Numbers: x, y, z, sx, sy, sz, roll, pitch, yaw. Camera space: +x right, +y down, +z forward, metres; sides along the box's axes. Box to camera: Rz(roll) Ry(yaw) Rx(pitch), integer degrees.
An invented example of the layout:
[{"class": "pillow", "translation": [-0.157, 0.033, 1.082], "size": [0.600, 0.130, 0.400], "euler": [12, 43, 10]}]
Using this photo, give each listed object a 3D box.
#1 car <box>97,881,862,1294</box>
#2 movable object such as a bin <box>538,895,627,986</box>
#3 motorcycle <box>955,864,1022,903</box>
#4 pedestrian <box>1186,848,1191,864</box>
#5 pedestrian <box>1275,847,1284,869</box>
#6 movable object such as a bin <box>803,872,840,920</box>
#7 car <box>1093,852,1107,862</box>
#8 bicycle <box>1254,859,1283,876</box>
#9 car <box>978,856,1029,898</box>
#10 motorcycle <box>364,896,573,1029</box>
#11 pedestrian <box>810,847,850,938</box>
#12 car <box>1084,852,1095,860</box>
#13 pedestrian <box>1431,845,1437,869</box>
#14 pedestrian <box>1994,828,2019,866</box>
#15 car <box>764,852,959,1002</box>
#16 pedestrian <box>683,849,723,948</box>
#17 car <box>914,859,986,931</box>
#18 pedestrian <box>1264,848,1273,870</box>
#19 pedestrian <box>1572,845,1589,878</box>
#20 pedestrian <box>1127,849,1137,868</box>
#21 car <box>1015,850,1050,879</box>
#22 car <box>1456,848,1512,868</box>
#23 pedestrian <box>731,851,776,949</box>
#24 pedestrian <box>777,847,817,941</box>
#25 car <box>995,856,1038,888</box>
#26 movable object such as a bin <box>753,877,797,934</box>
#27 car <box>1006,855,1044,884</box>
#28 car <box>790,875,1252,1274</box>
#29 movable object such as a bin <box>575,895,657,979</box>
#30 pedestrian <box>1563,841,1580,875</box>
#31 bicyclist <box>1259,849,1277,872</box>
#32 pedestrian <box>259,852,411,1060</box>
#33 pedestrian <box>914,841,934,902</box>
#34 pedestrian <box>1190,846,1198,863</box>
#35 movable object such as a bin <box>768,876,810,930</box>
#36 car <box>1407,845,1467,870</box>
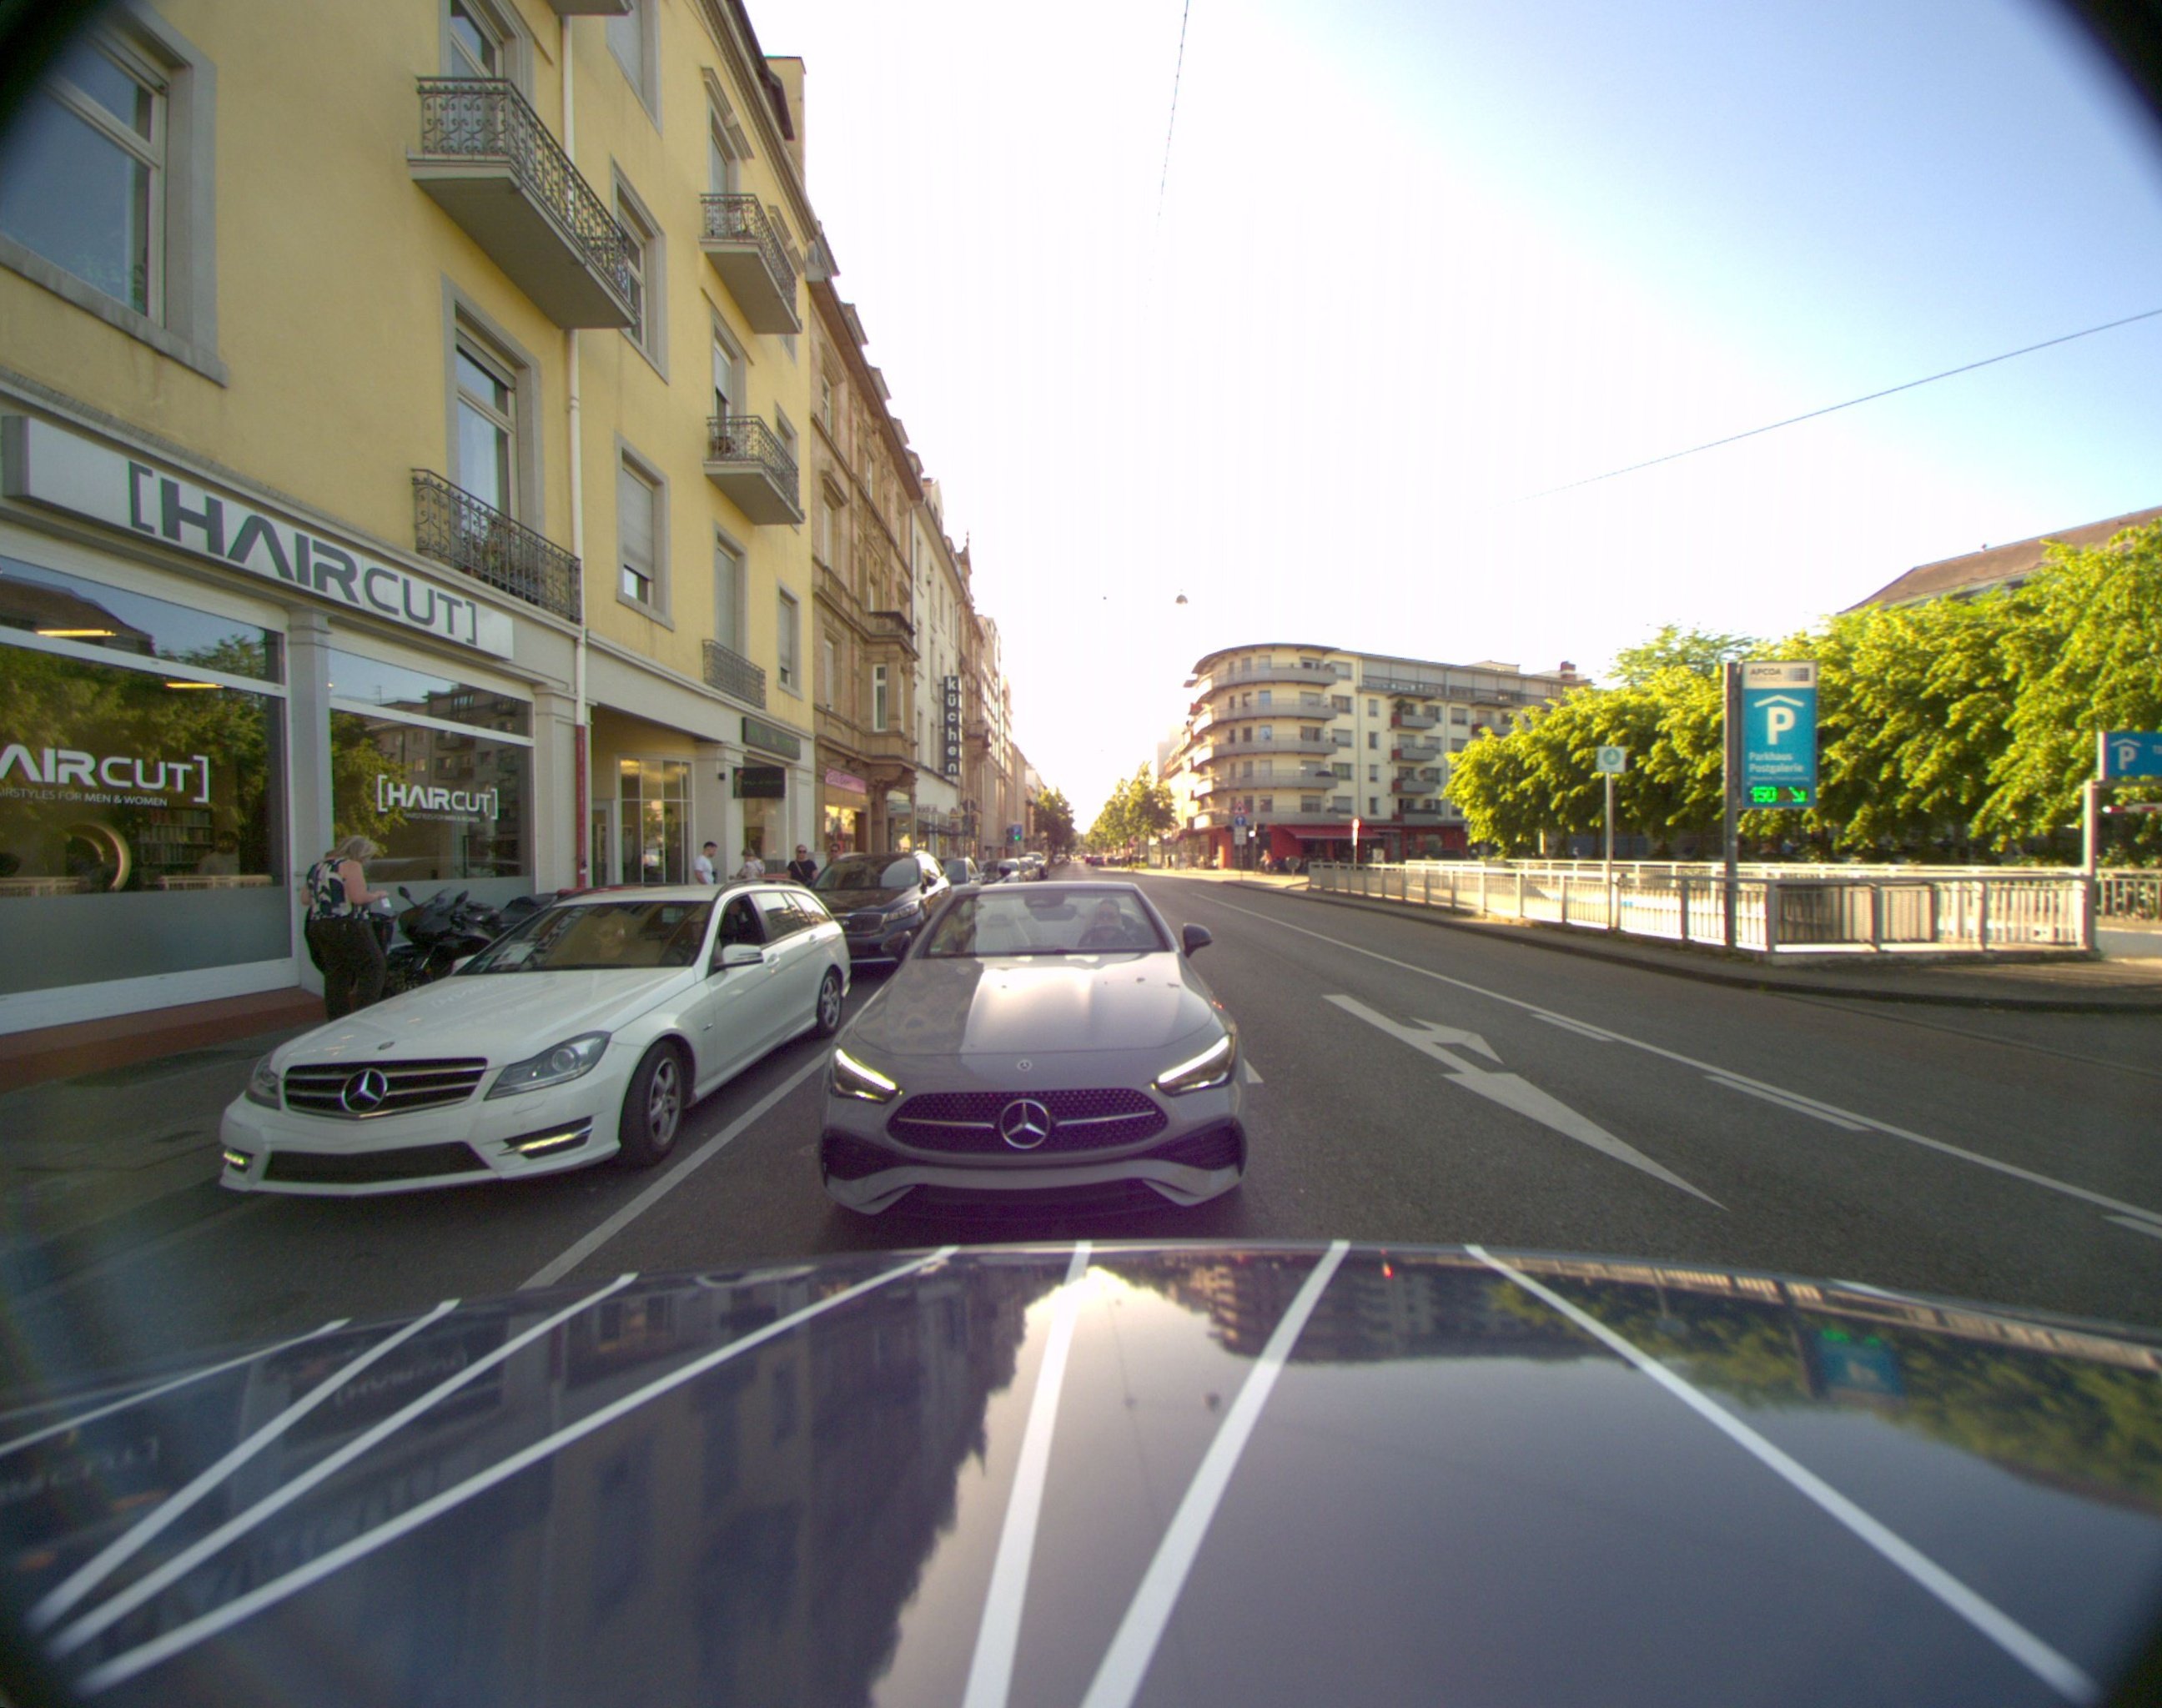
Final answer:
[{"class": "car", "translation": [-3.058, 1.023, 5.293], "size": [1.743, 1.438, 4.463], "euler": [-1, 0, 0]}, {"class": "movable object such as a bin", "translation": [-6.125, 1.048, 9.356], "size": [0.661, 1.035, 0.619], "euler": [2, 1, 3]}, {"class": "motorcycle", "translation": [-3.217, 1.006, 26.534], "size": [2.178, 1.272, 0.866], "euler": [-2, 1, -42]}, {"class": "pedestrian", "translation": [10.068, 0.197, 71.087], "size": [0.376, 1.521, 0.516], "euler": [-2, 1, -3]}, {"class": "pedestrian", "translation": [15.489, 0.342, 59.328], "size": [0.575, 1.698, 0.642], "euler": [-1, 1, 3]}, {"class": "movable object such as a bin", "translation": [-6.054, 0.967, 17.753], "size": [0.606, 1.060, 0.619], "euler": [2, 1, 0]}, {"class": "car", "translation": [2.589, 0.403, 104.720], "size": [1.806, 1.388, 3.926], "euler": [-1, 0, -1]}, {"class": "bicycle", "translation": [13.439, 0.954, 54.453], "size": [1.868, 1.205, 0.715], "euler": [-1, 1, 40]}, {"class": "car", "translation": [-3.036, 0.862, 30.552], "size": [1.737, 1.509, 4.164], "euler": [-1, 0, -2]}, {"class": "motorcycle", "translation": [-6.196, 1.034, 7.862], "size": [0.551, 1.085, 2.009], "euler": [0, 0, -1]}, {"class": "pedestrian", "translation": [-4.573, 0.693, 13.848], "size": [0.514, 1.623, 0.415], "euler": [-1, 1, 31]}, {"class": "car", "translation": [1.570, 0.324, 137.200], "size": [1.895, 1.388, 4.255], "euler": [-1, 0, -1]}, {"class": "pedestrian", "translation": [24.707, 0.181, 53.137], "size": [0.322, 1.658, 0.362], "euler": [-1, 1, 32]}, {"class": "pedestrian", "translation": [44.282, -0.316, 36.348], "size": [0.602, 1.782, 0.581], "euler": [-2, 1, -20]}, {"class": "car", "translation": [-2.974, 0.861, 11.329], "size": [1.760, 1.726, 4.571], "euler": [-1, 0, -3]}, {"class": "pedestrian", "translation": [-6.466, 0.739, 12.996], "size": [0.337, 1.651, 0.524], "euler": [1, 1, 19]}, {"class": "car", "translation": [-3.027, 0.899, 17.935], "size": [1.275, 1.509, 2.794], "euler": [-1, 0, -2]}, {"class": "pedestrian", "translation": [14.755, 0.358, 59.738], "size": [0.575, 1.698, 0.642], "euler": [-1, 1, 3]}, {"class": "pedestrian", "translation": [27.193, 0.400, 41.361], "size": [0.602, 1.782, 0.581], "euler": [-3, 2, -40]}, {"class": "pedestrian", "translation": [4.538, 0.386, 67.849], "size": [0.774, 1.606, 0.696], "euler": [-1, 1, -3]}, {"class": "car", "translation": [-2.998, 0.636, 47.730], "size": [1.895, 1.680, 4.049], "euler": [-1, 0, 0]}, {"class": "car", "translation": [34.286, 0.329, 64.680], "size": [4.300, 1.611, 1.951], "euler": [-2, 1, -24]}, {"class": "pedestrian", "translation": [-5.688, 0.779, 13.191], "size": [0.450, 1.651, 0.594], "euler": [1, 1, 45]}, {"class": "pedestrian", "translation": [-5.083, 0.698, 13.626], "size": [0.619, 1.623, 0.462], "euler": [-2, 1, -19]}, {"class": "car", "translation": [-3.069, 0.845, 36.838], "size": [1.737, 1.409, 3.802], "euler": [-1, 0, 0]}, {"class": "movable object such as a bin", "translation": [-6.107, 1.020, 15.201], "size": [0.606, 1.060, 0.619], "euler": [2, 1, 0]}, {"class": "car", "translation": [-2.992, 0.812, 41.101], "size": [1.737, 1.409, 3.802], "euler": [-1, 0, 0]}, {"class": "car", "translation": [-0.232, 0.965, 5.288], "size": [1.848, 1.440, 4.373], "euler": [-1, 0, 0]}, {"class": "movable object such as a bin", "translation": [-6.107, 1.070, 10.003], "size": [0.669, 1.019, 0.619], "euler": [2, 1, 3]}, {"class": "pedestrian", "translation": [26.214, 0.229, 40.607], "size": [0.602, 1.782, 0.581], "euler": [-3, 2, -45]}, {"class": "bicyclist", "translation": [13.389, 0.437, 54.468], "size": [0.973, 1.605, 0.715], "euler": [-1, 1, 40]}, {"class": "pedestrian", "translation": [-6.070, 0.801, 6.212], "size": [0.698, 1.623, 0.532], "euler": [0, 1, -2]}, {"class": "pedestrian", "translation": [-4.584, 0.511, 22.222], "size": [0.434, 1.752, 0.481], "euler": [-2, 1, 1]}, {"class": "pedestrian", "translation": [10.537, 0.038, 71.018], "size": [0.570, 1.612, 0.793], "euler": [-2, 1, -3]}, {"class": "movable object such as a bin", "translation": [-6.084, 1.012, 15.848], "size": [0.606, 1.060, 0.619], "euler": [2, 1, 0]}, {"class": "car", "translation": [29.181, 0.255, 62.299], "size": [4.432, 1.901, 1.951], "euler": [-2, 1, -24]}]
